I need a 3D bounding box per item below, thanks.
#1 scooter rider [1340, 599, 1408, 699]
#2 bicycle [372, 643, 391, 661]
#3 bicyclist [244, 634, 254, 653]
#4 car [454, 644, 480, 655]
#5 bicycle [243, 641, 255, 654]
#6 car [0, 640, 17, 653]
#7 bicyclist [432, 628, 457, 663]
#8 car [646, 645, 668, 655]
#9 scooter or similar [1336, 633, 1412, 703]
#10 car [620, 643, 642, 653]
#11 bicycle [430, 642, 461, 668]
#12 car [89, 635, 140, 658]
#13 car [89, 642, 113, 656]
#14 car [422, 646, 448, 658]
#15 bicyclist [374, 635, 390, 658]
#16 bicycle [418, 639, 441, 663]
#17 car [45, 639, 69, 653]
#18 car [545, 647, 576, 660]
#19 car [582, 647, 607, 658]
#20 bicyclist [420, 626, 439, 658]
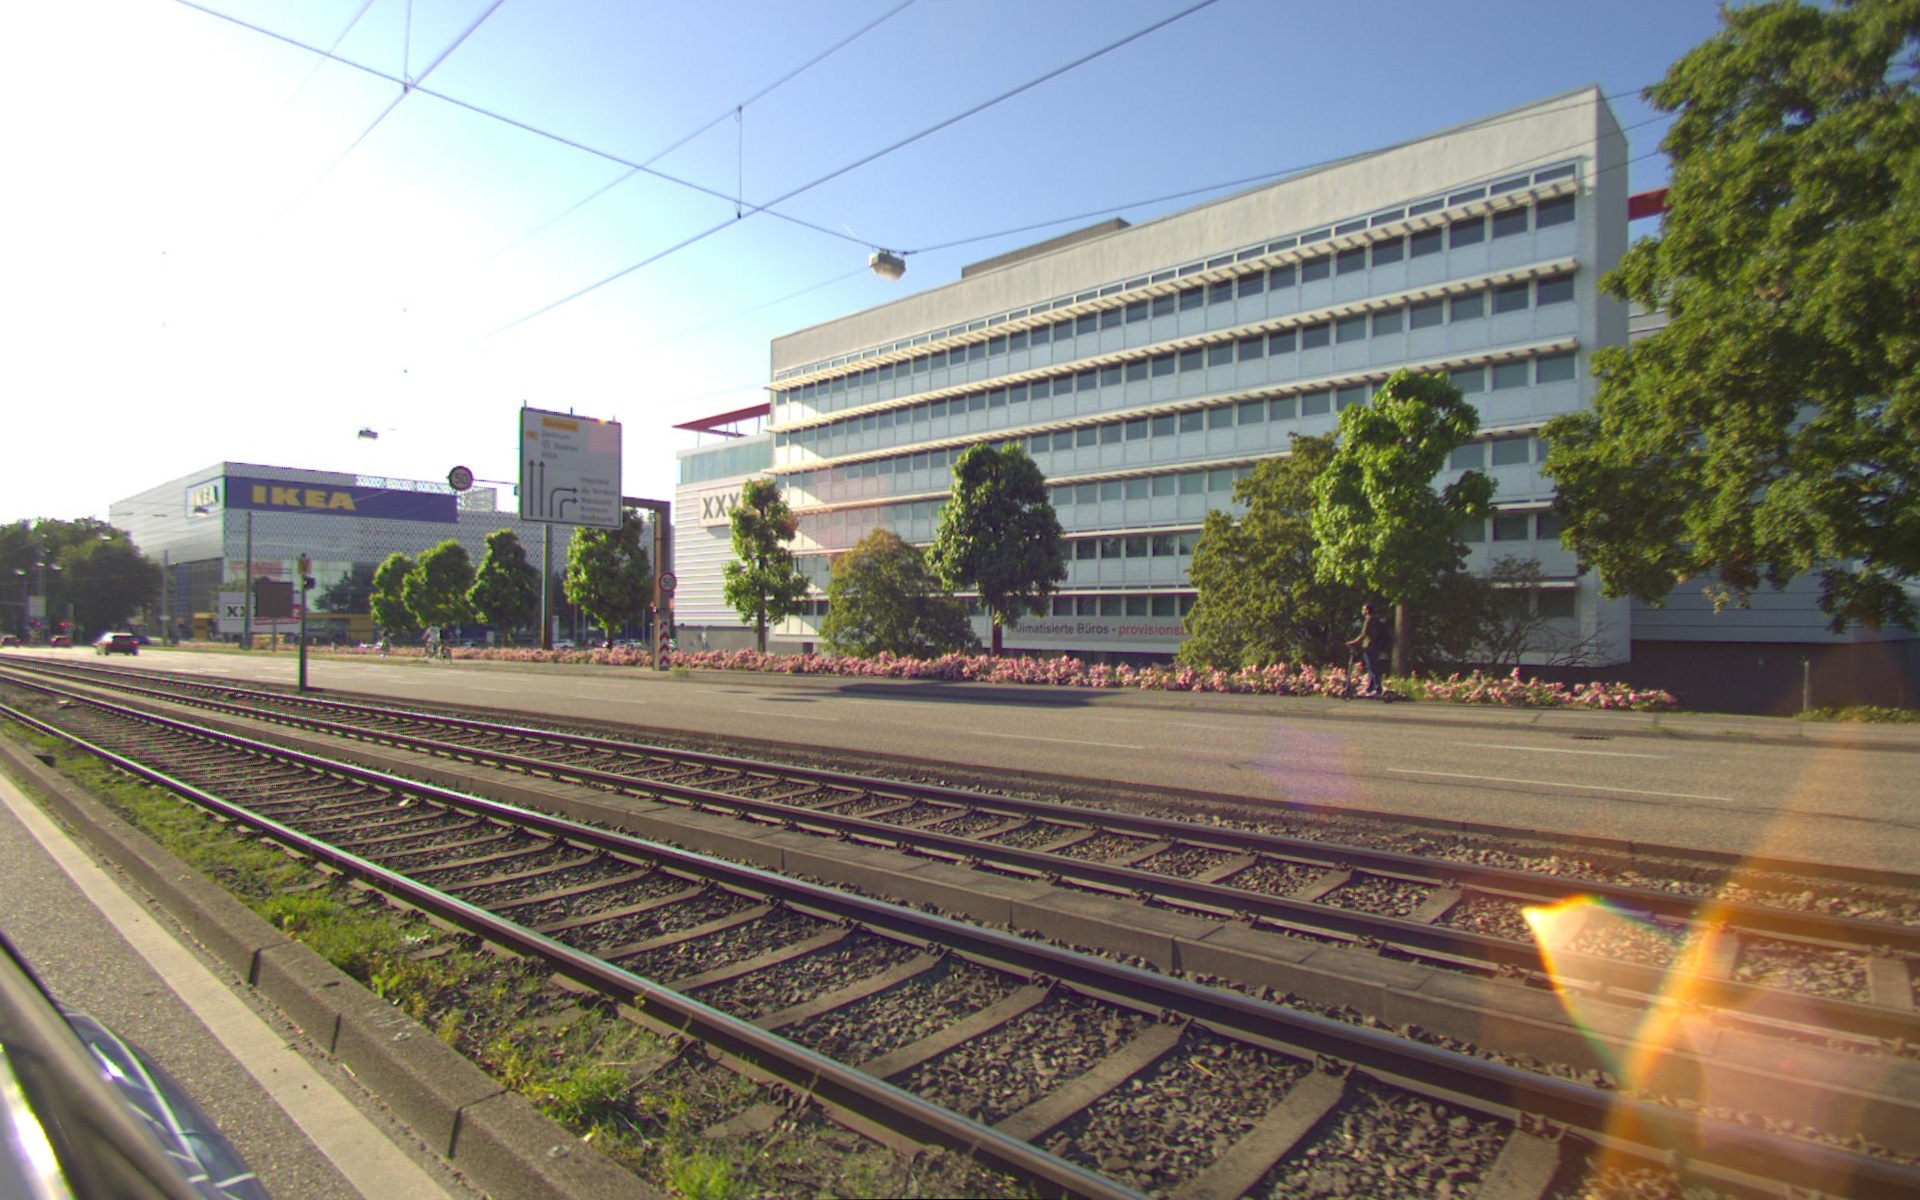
[{"bbox_3d":[8.013,0.934,19.594,0.674,1.862,1.002,1,-2,-42],"label":"scooter rider"},{"bbox_3d":[-35.866,3.223,62.710,0.617,1.067,1.704,2,-3,-45],"label":"bicycle"},{"bbox_3d":[-65.832,4.023,93.654,0.653,1.635,0.802,-2,0,-40],"label":"bicyclist"},{"bbox_3d":[-75.302,7.599,154.592,3.993,1.605,1.912,-2,0,37],"label":"car"},{"bbox_3d":[-65.709,4.366,93.522,0.653,1.159,2.025,-2,0,-40],"label":"bicycle"},{"bbox_3d":[-110.676,5.347,117.019,4.133,1.472,1.838,-2,-2,39],"label":"car"},{"bbox_3d":[-23.239,2.033,45.615,0.696,1.524,0.971,-2,0,-43],"label":"bicyclist"},{"bbox_3d":[-53.089,8.787,177.289,3.998,1.668,1.972,-2,-2,42],"label":"car"},{"bbox_3d":[8.000,1.302,19.596,0.466,1.306,1.263,1,-2,-43],"label":"scooter or similar"},{"bbox_3d":[-56.623,8.329,174.055,3.998,1.668,1.777,-2,-2,42],"label":"car"},{"bbox_3d":[-23.145,2.451,45.531,0.696,1.081,2.029,-2,0,-42],"label":"bicycle"},{"bbox_3d":[-59.216,3.230,70.846,4.885,1.515,2.018,-2,-2,41],"label":"car"},{"bbox_3d":[-103.211,5.848,121.624,1.796,1.655,4.010,2,-3,-35],"label":"car"},{"bbox_3d":[-78.140,7.727,150.589,3.993,1.758,1.912,-2,0,37],"label":"car"},{"bbox_3d":[-35.804,2.859,62.659,0.617,1.384,0.880,2,-3,-45],"label":"bicyclist"},{"bbox_3d":[-28.684,2.730,54.733,0.595,1.228,1.750,-2,0,-43],"label":"bicycle"},{"bbox_3d":[-106.311,5.411,119.183,1.911,1.488,4.138,4,-4,-41],"label":"car"},{"bbox_3d":[-63.834,8.571,161.618,4.169,1.813,1.827,-2,0,-1],"label":"car"},{"bbox_3d":[-60.664,8.715,167.953,4.431,1.563,1.652,-2,0,37],"label":"car"},{"bbox_3d":[-28.701,2.282,54.728,0.595,1.671,0.964,-2,0,-43],"label":"bicyclist"}]
